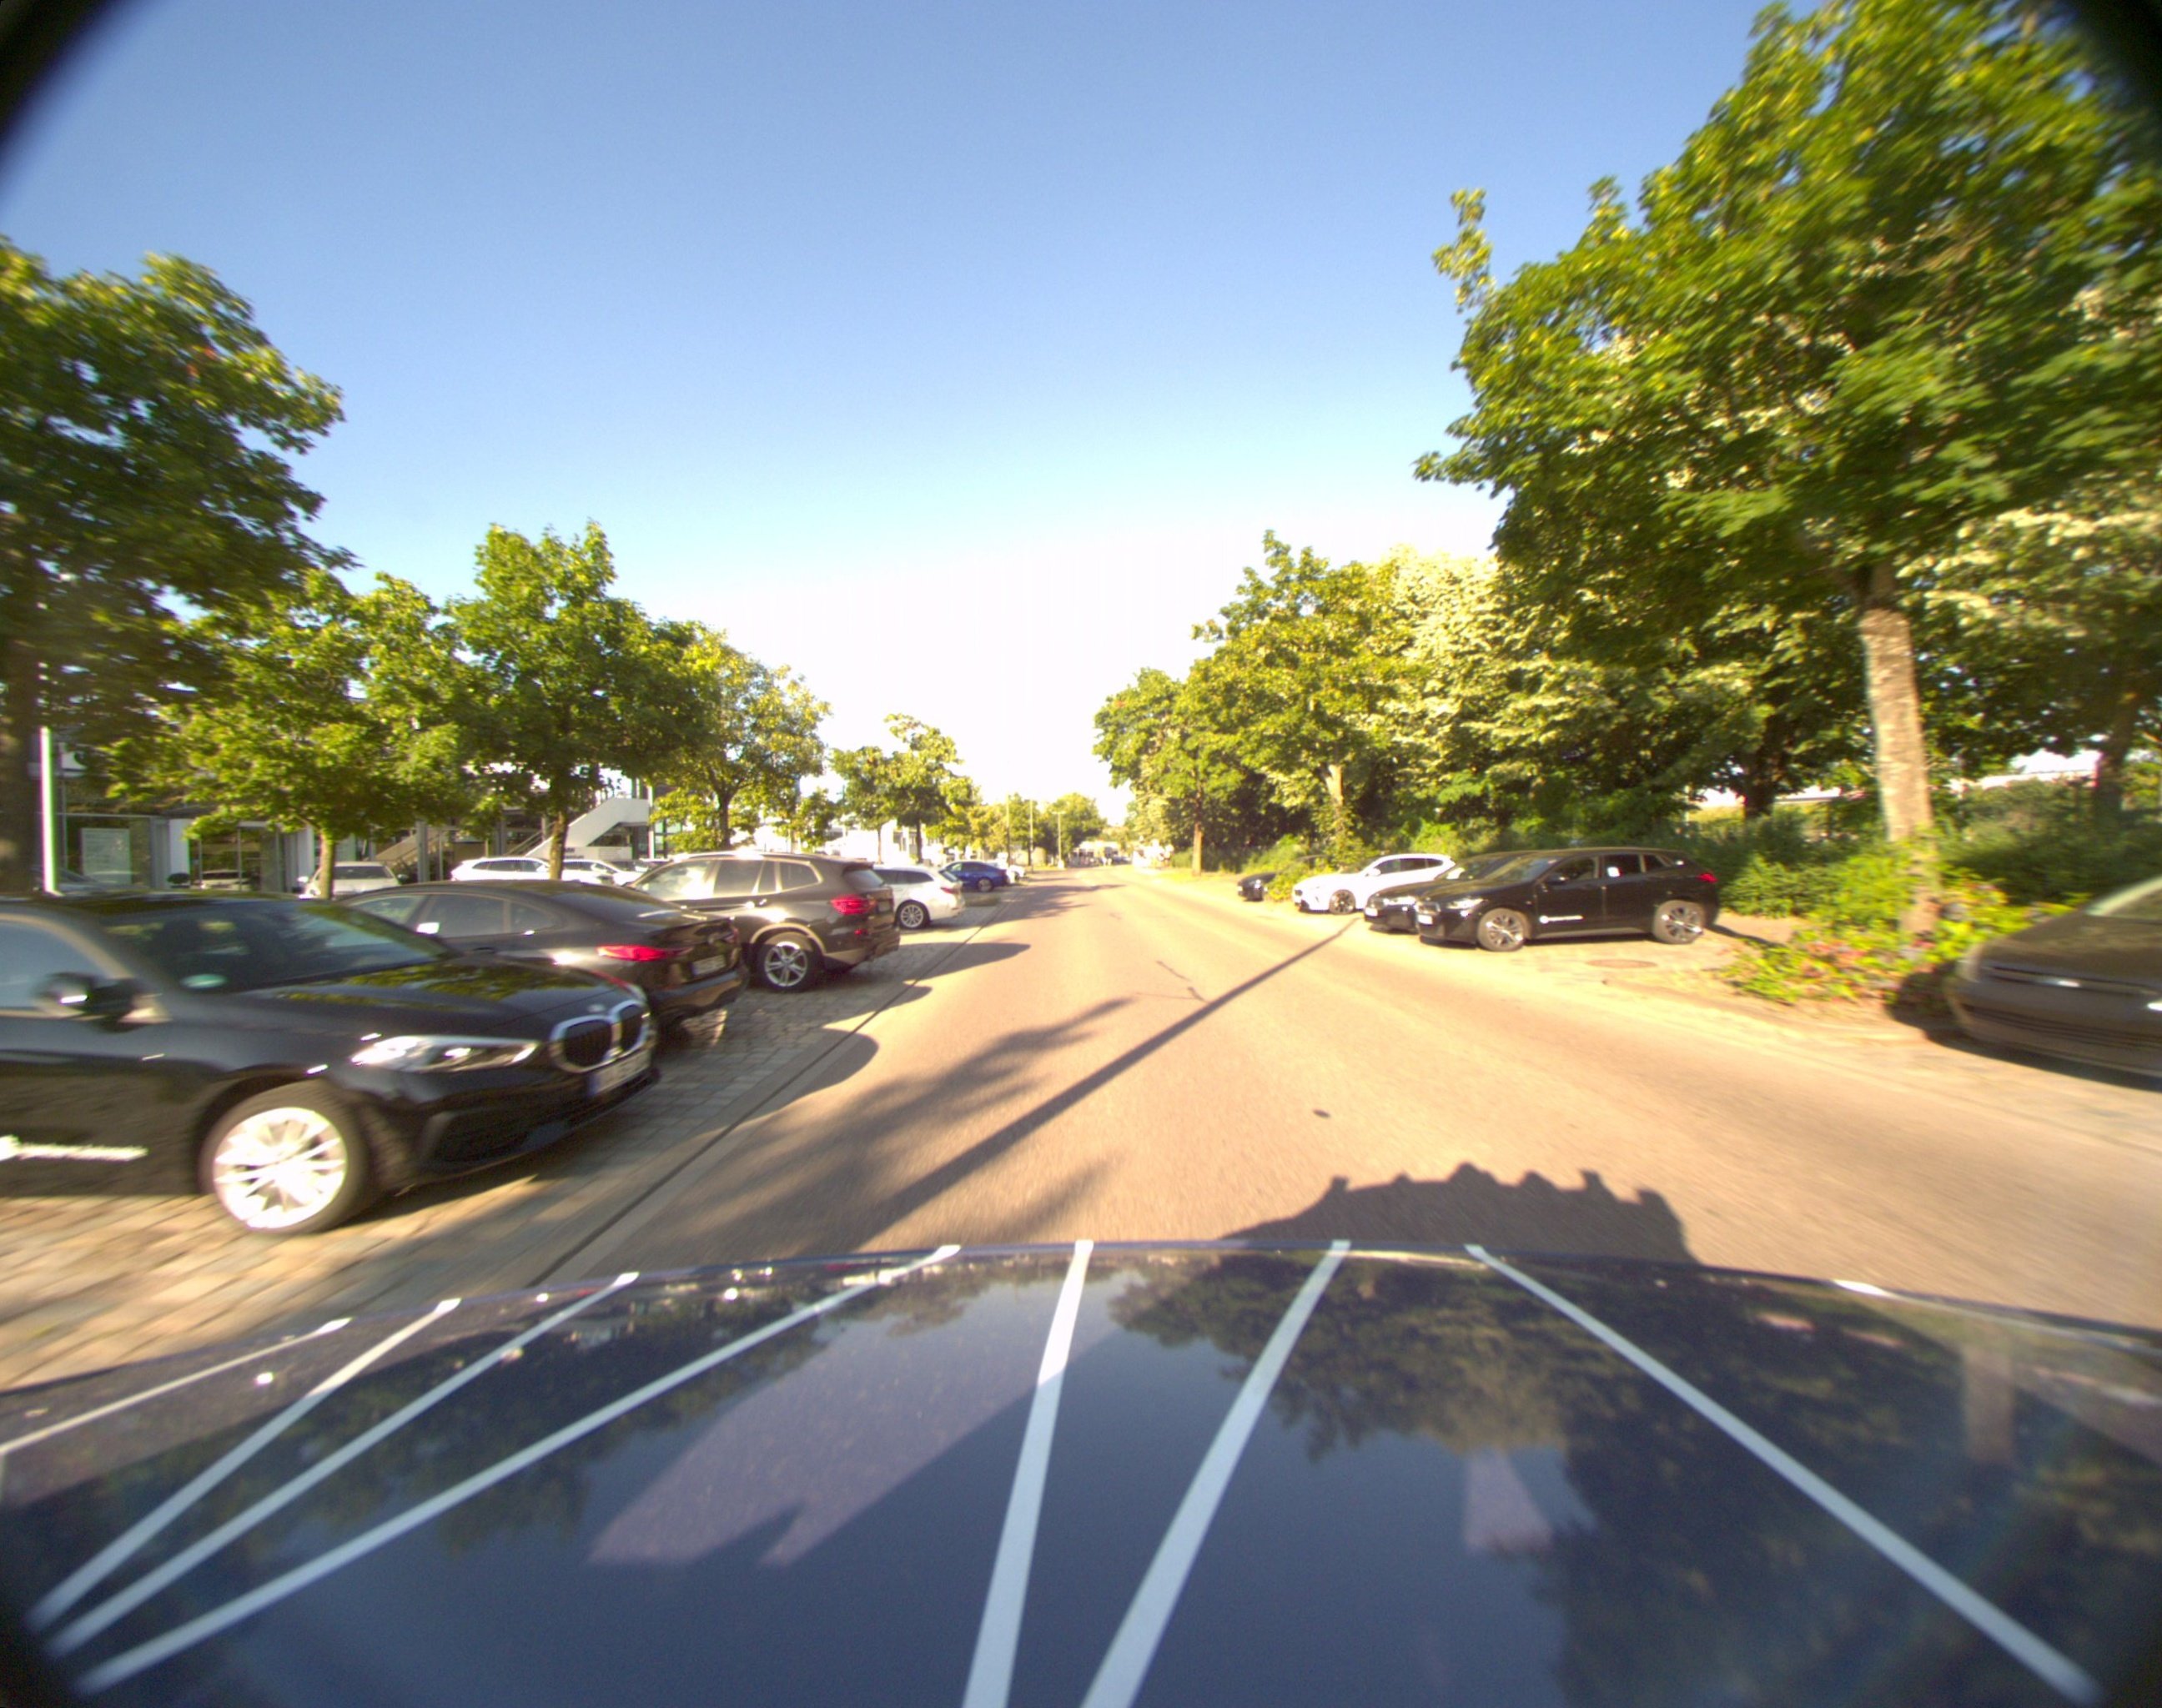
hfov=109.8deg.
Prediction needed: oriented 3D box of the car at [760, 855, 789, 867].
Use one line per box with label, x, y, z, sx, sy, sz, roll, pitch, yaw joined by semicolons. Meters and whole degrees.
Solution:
car;-53.532;1.237;132.856;2.387;2.002;4.007;-1;0;30

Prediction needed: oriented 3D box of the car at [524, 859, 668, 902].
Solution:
car;-18.778;0.984;29.710;4.612;1.565;1.995;0;0;-28

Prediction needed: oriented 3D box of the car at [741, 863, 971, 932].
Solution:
car;-5.007;0.963;17.459;4.707;1.471;2.000;0;0;-2

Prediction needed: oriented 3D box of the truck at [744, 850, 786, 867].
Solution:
truck;-55.820;0.809;134.435;1.995;2.889;7.127;-1;0;31

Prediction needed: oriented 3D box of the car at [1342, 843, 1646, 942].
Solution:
car;7.921;0.692;14.867;4.863;1.522;1.999;-3;0;-5

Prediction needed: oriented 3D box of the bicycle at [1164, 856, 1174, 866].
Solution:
bicycle;9.538;0.744;82.817;0.767;1.033;2.217;-1;0;-1

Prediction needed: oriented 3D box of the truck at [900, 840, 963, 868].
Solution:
truck;-19.611;0.035;99.405;8.230;3.501;3.121;-1;0;35

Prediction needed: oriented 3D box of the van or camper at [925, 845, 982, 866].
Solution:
van or camper;-18.635;0.212;110.753;7.990;2.883;2.948;-1;0;30

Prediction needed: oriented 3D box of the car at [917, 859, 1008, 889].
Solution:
car;-5.965;0.989;38.694;4.388;1.471;2.000;0;0;-2

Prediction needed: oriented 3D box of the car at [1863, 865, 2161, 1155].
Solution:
car;8.160;0.810;4.755;4.491;1.453;2.000;-3;0;-1

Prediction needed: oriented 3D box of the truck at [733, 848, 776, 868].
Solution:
truck;-58.369;0.667;135.975;1.995;3.331;7.127;-1;0;31

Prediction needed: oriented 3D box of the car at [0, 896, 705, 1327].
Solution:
car;-4.664;1.046;3.796;4.493;1.396;2.033;-1;2;-1

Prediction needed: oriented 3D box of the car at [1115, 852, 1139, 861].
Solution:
car;10.872;0.572;180.325;5.275;2.002;2.410;-1;0;38

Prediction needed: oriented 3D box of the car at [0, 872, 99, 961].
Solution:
car;-20.252;1.108;14.045;4.776;1.455;2.004;-1;0;44

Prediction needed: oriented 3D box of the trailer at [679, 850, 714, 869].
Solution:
trailer;-64.098;0.867;126.837;1.995;3.051;4.867;-1;0;30

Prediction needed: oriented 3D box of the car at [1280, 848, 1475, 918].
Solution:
car;7.686;0.721;20.011;4.297;1.522;2.000;-3;0;0

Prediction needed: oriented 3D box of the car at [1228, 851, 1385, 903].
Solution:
car;7.538;0.754;25.710;4.662;1.413;1.916;-3;0;-3

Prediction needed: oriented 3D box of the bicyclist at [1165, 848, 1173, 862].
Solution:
bicyclist;9.577;0.078;82.514;0.733;1.521;0.951;-1;1;-1

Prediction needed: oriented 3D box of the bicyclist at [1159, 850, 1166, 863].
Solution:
bicyclist;9.634;0.259;89.722;0.733;1.521;0.951;-1;1;-1

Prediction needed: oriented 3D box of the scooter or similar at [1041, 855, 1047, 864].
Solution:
scooter or similar;-5.862;0.909;121.656;0.547;1.328;1.483;-1;0;13

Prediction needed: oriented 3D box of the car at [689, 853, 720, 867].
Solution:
car;-61.688;1.014;124.658;2.083;2.264;4.008;-1;0;30

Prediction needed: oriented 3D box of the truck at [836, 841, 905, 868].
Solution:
truck;-28.883;0.106;104.118;10.091;3.623;3.302;-1;0;34

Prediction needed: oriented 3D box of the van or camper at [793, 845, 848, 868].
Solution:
van or camper;-38.143;0.385;111.152;8.118;3.309;2.418;-1;0;26

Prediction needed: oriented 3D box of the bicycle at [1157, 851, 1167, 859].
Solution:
bicycle;9.655;0.121;90.480;0.767;1.033;2.217;-1;0;-2

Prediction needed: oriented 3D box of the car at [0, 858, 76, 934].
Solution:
car;-27.657;1.016;17.706;4.793;1.763;1.997;-1;0;-17

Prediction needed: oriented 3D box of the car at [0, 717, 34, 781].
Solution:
car;-32.959;-2.961;21.860;3.994;1.656;1.789;-4;0;12

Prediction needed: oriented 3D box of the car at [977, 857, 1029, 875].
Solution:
car;-6.433;0.980;63.376;4.210;1.435;2.087;0;0;-3

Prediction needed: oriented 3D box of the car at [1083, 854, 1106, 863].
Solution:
car;3.185;1.055;179.511;4.833;2.002;2.305;-1;0;38

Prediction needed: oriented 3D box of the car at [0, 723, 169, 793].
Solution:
car;-31.903;-2.998;24.283;3.994;1.656;1.789;-4;0;12

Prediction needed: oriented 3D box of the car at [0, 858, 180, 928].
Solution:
car;-28.441;1.050;20.599;4.793;1.763;1.997;-1;0;-17

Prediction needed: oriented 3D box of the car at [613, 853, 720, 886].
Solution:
car;-20.720;0.737;38.131;4.612;1.565;1.995;0;0;-28

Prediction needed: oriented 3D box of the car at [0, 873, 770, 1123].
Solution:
car;-5.209;1.005;6.164;4.492;1.541;2.033;-1;0;0

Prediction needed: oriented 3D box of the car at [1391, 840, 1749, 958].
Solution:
car;7.732;0.669;12.356;4.491;1.522;2.000;-3;0;-1

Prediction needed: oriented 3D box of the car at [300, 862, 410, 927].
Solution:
car;-20.474;1.045;21.350;5.176;1.562;2.004;-1;0;44

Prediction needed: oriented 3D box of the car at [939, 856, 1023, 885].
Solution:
car;-5.630;0.937;43.267;4.604;1.575;1.999;0;0;-4

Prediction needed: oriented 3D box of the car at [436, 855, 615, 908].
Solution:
car;-19.117;0.884;26.512;4.736;1.680;2.406;0;0;-28

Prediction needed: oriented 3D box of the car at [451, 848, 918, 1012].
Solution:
car;-4.693;0.866;9.576;4.705;1.741;2.192;-1;0;3

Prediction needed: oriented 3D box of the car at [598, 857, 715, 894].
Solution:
car;-19.728;0.962;35.576;4.610;1.565;1.996;-1;0;-24

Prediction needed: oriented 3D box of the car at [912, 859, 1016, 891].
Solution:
car;-5.461;0.971;35.939;4.637;1.448;2.000;0;0;-2

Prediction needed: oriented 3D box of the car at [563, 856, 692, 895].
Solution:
car;-19.274;0.869;32.524;4.612;1.565;1.995;0;0;-28

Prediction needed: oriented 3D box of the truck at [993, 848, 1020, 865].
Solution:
truck;-12.592;0.379;129.174;2.541;2.704;5.979;-1;0;15

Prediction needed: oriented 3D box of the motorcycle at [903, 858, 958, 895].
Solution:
motorcycle;-6.225;0.906;31.352;2.132;1.457;0.948;-1;0;-17

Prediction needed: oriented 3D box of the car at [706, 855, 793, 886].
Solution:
car;-19.684;0.949;45.151;4.611;1.657;1.996;-1;0;-27
